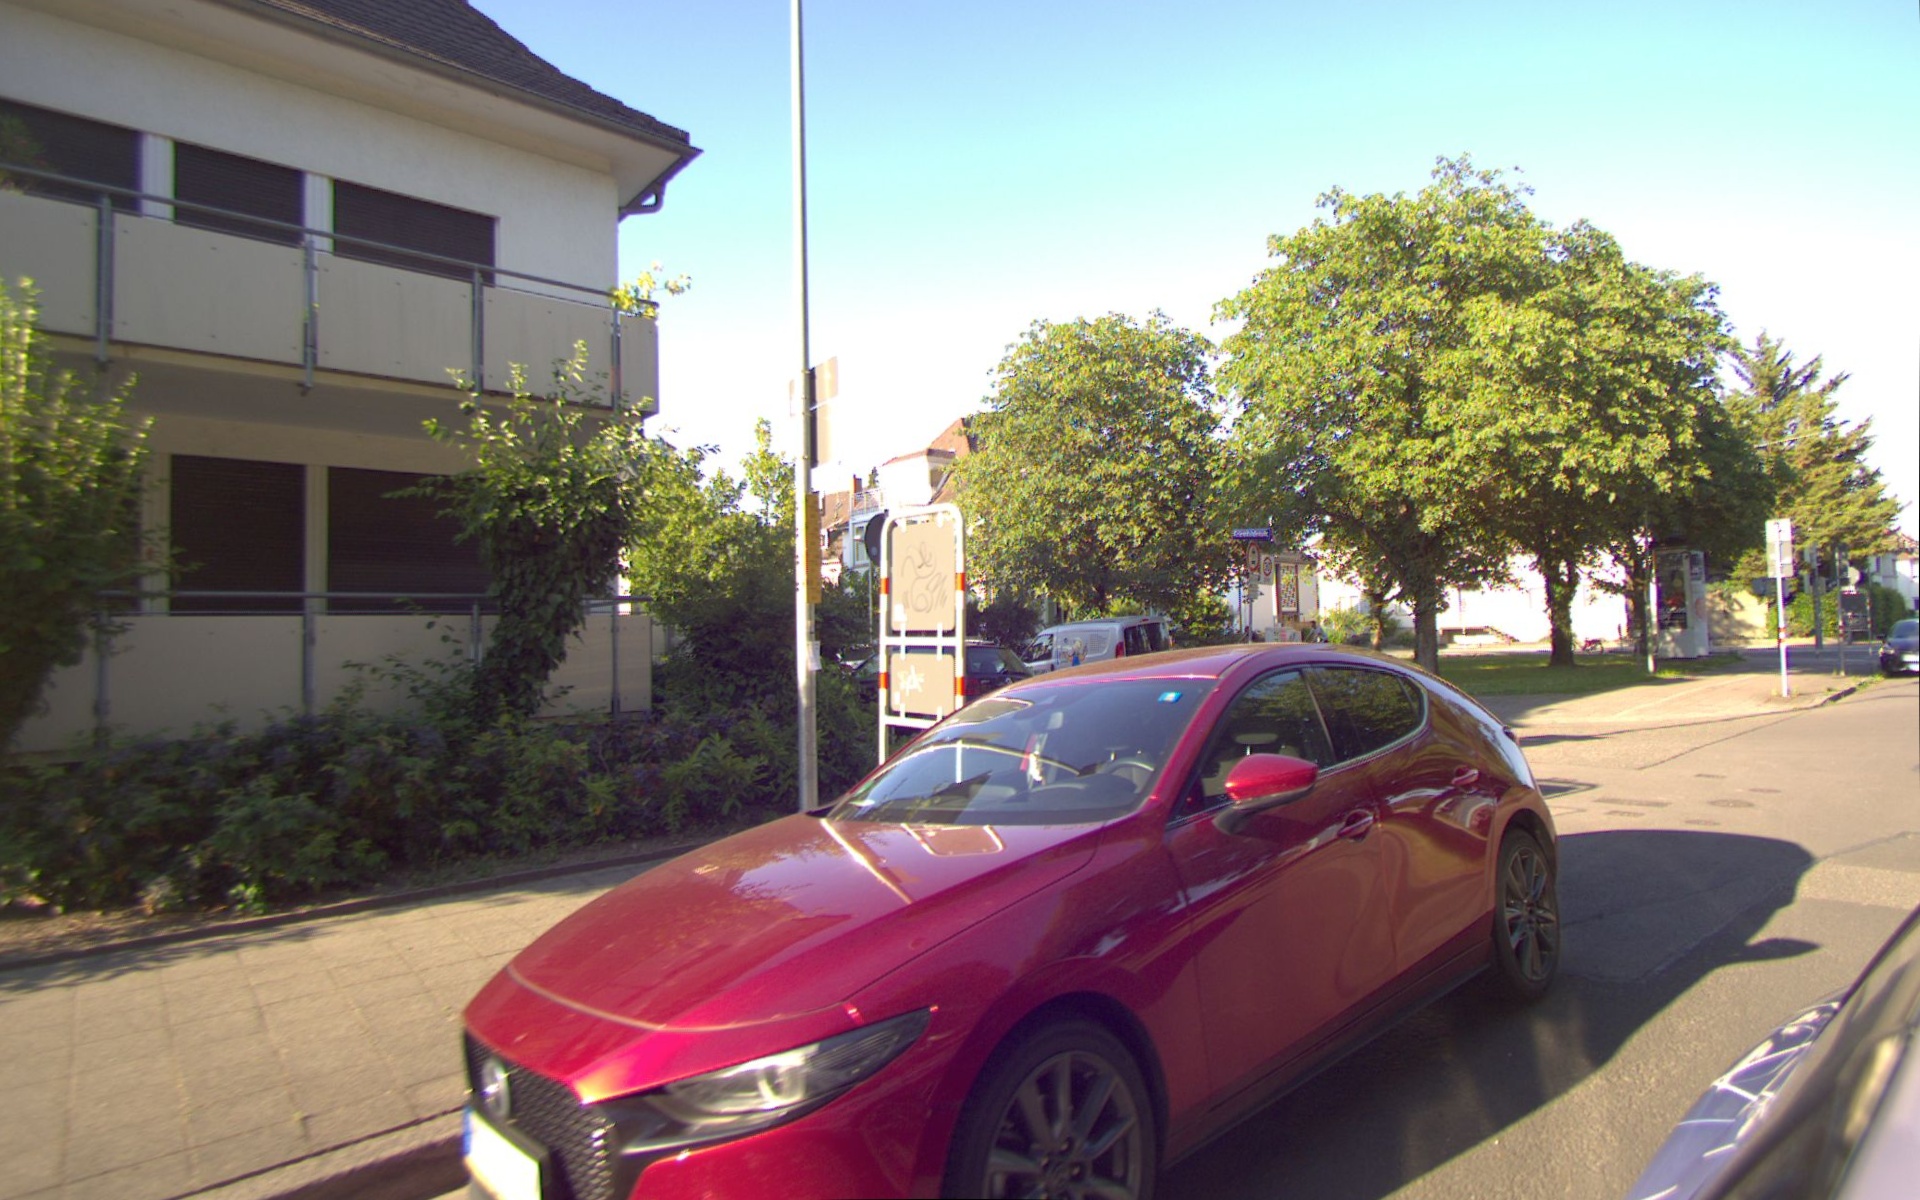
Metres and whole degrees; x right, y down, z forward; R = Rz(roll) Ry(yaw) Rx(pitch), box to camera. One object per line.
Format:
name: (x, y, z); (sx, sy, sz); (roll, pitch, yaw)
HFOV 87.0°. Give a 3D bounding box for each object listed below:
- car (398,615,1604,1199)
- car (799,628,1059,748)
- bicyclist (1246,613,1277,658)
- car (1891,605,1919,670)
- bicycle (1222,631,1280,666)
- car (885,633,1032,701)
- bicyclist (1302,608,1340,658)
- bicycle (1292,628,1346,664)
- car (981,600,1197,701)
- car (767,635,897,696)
car: (0.536, 0.842, 3.554); (4.129, 1.377, 1.711); (-1, -4, -41)
car: (-0.585, 1.222, 14.911); (1.686, 1.465, 3.992); (-1, -2, -41)
bicyclist: (10.952, 1.279, 36.777); (0.877, 1.582, 0.714); (1, 0, 1)
car: (25.447, 0.899, 26.213); (1.725, 1.530, 4.468); (-6, -4, 44)
bicycle: (10.575, 1.749, 36.795); (1.926, 1.198, 0.492); (-2, 1, 0)
car: (-0.083, 1.637, 25.294); (3.552, 1.535, 1.580); (-3, -2, 44)
bicyclist: (13.236, 1.205, 37.102); (0.875, 1.755, 0.818); (-2, -4, -21)
bicycle: (13.131, 1.675, 37.017); (1.866, 1.199, 0.575); (-2, -4, -21)
car: (2.642, 1.098, 21.516); (1.995, 1.899, 4.247); (-1, -3, -40)
car: (-3.654, 1.858, 28.493); (1.499, 1.543, 3.921); (-1, -2, -45)
